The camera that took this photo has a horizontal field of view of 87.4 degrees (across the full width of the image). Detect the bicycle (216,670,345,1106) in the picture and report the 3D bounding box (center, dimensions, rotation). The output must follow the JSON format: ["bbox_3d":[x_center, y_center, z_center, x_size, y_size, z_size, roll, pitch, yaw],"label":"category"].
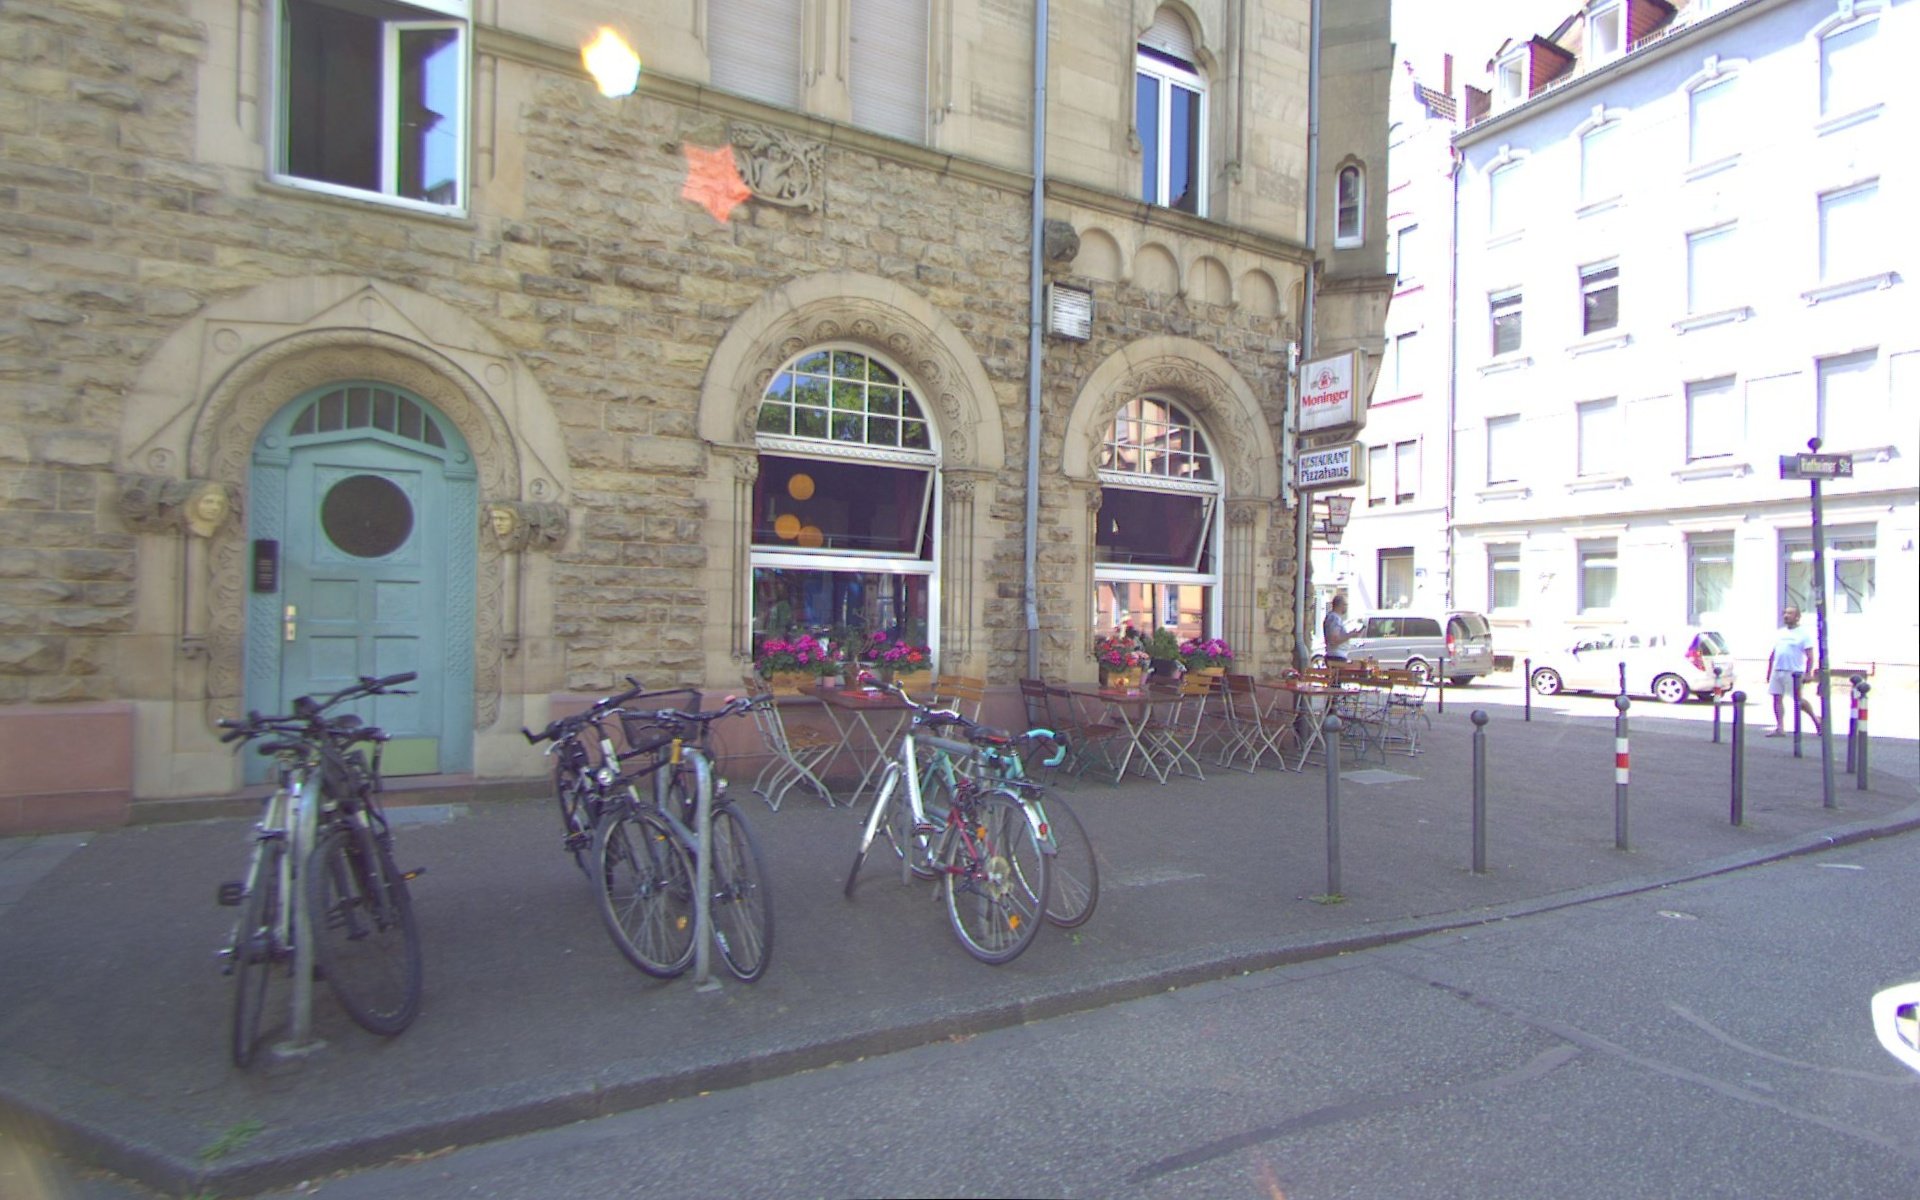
[{"bbox_3d":[-2.435,0.881,3.675,0.289,1.115,1.693,2,0,-31],"label":"bicycle"}]

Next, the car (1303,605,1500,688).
[{"bbox_3d":[11.719,1.192,27.030,1.854,2.024,4.687,0,-1,-28],"label":"car"}]

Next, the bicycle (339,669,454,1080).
[{"bbox_3d":[-2.193,0.890,3.854,0.289,1.115,1.693,2,1,-31],"label":"bicycle"}]

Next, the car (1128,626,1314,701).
[{"bbox_3d":[5.513,1.314,21.632,1.702,1.444,3.816,3,-3,-29],"label":"car"}]

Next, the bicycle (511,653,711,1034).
[{"bbox_3d":[-1.603,0.889,4.397,0.390,1.145,1.961,2,2,-31],"label":"bicycle"}]

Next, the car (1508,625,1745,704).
[{"bbox_3d":[14.577,1.352,22.218,1.785,1.582,4.029,2,-2,-29],"label":"car"}]

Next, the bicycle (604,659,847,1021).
[{"bbox_3d":[-1.137,0.900,4.496,0.431,1.144,1.984,2,0,-31],"label":"bicycle"}]

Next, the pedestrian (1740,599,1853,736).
[{"bbox_3d":[12.083,0.963,14.533,0.918,1.914,0.852,1,-2,-7],"label":"pedestrian"}]

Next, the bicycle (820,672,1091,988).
[{"bbox_3d":[-0.105,0.939,4.669,0.409,1.059,1.695,2,1,-31],"label":"bicycle"}]

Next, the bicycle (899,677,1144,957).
[{"bbox_3d":[0.234,0.960,4.922,0.363,1.021,1.516,1,1,-31],"label":"bicycle"}]

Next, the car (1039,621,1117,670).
[{"bbox_3d":[4.785,1.833,41.133,1.529,1.910,3.335,0,-1,-29],"label":"car"}]

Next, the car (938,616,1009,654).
[{"bbox_3d":[0.605,1.664,48.194,1.701,1.753,3.816,0,-1,-29],"label":"car"}]

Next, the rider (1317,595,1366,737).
[{"bbox_3d":[4.777,0.811,12.609,0.530,1.719,0.642,0,-2,17],"label":"rider"}]
